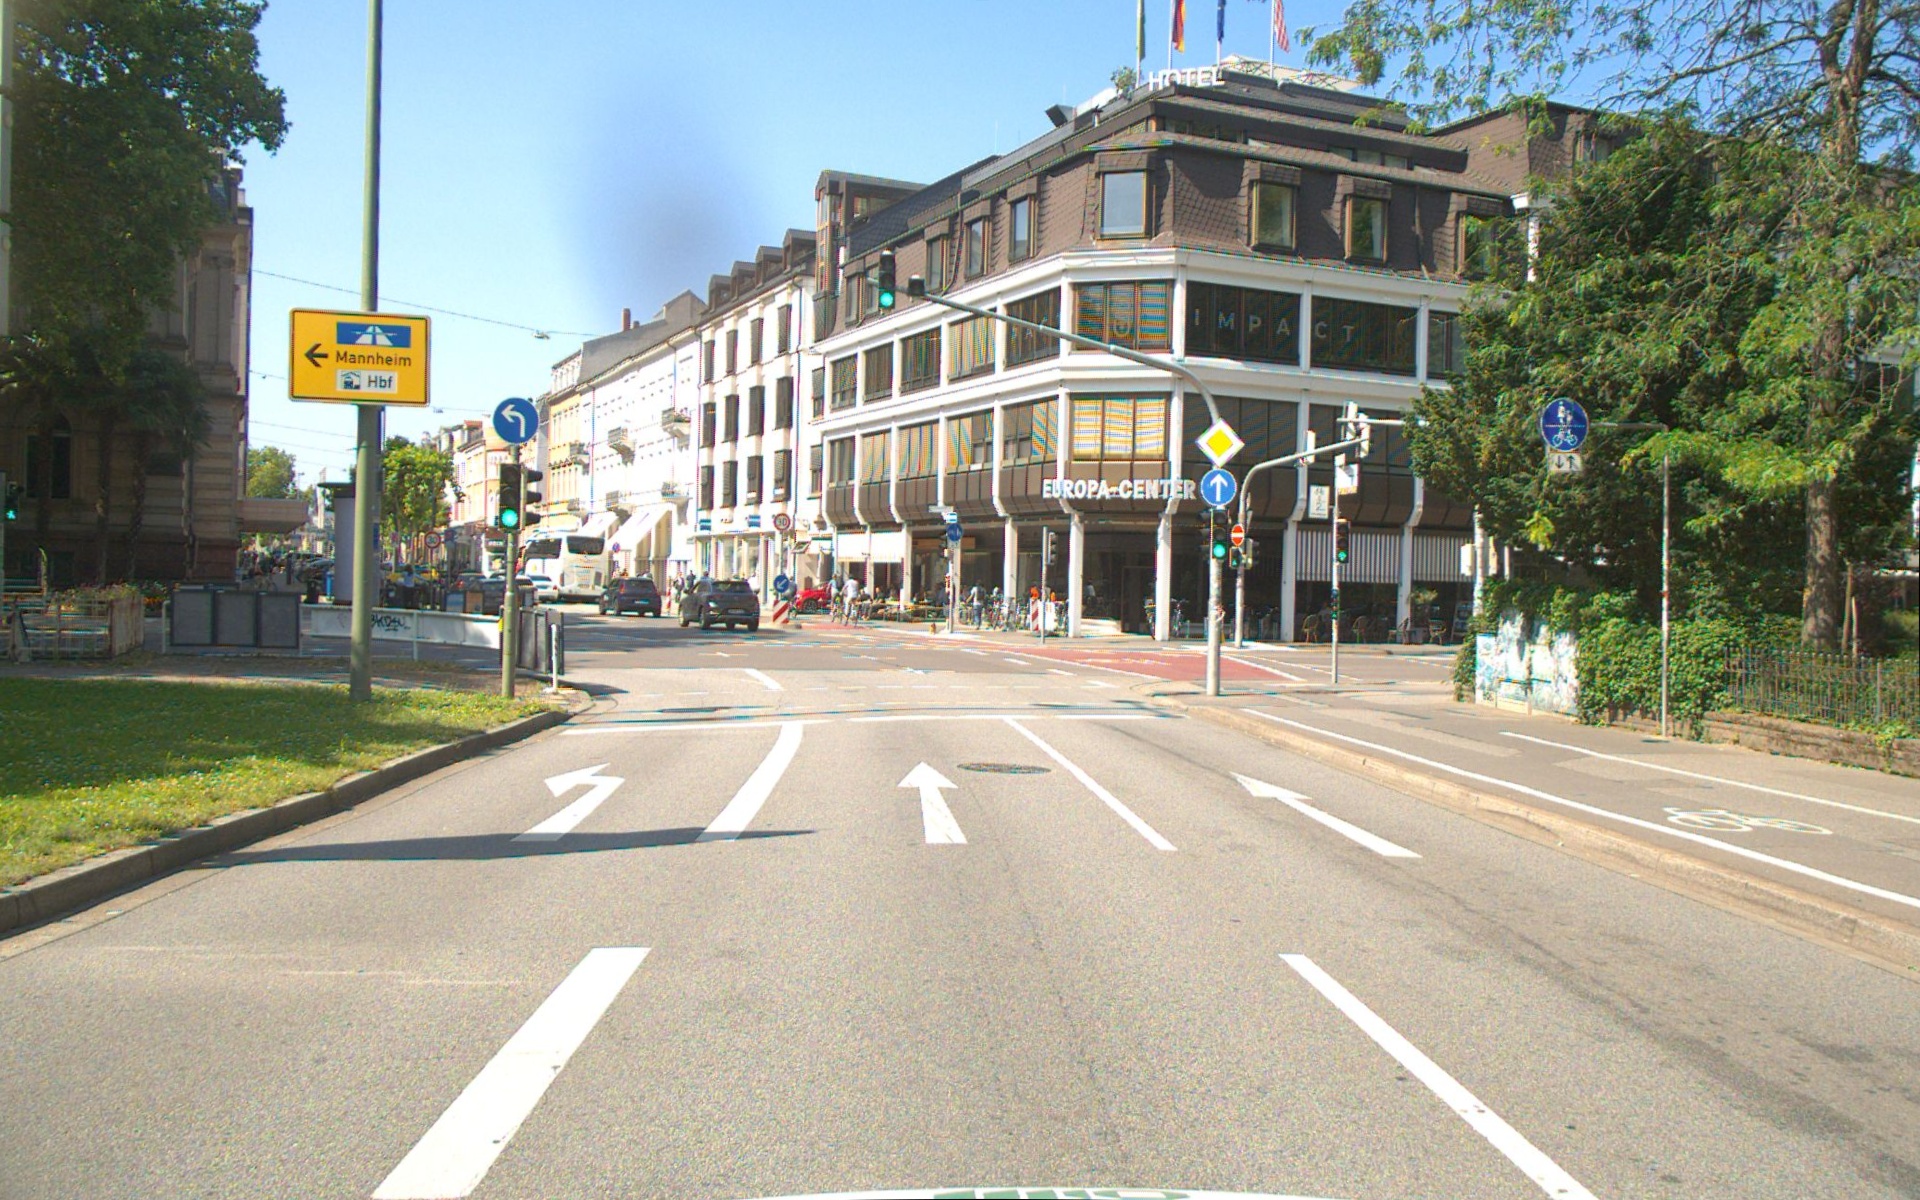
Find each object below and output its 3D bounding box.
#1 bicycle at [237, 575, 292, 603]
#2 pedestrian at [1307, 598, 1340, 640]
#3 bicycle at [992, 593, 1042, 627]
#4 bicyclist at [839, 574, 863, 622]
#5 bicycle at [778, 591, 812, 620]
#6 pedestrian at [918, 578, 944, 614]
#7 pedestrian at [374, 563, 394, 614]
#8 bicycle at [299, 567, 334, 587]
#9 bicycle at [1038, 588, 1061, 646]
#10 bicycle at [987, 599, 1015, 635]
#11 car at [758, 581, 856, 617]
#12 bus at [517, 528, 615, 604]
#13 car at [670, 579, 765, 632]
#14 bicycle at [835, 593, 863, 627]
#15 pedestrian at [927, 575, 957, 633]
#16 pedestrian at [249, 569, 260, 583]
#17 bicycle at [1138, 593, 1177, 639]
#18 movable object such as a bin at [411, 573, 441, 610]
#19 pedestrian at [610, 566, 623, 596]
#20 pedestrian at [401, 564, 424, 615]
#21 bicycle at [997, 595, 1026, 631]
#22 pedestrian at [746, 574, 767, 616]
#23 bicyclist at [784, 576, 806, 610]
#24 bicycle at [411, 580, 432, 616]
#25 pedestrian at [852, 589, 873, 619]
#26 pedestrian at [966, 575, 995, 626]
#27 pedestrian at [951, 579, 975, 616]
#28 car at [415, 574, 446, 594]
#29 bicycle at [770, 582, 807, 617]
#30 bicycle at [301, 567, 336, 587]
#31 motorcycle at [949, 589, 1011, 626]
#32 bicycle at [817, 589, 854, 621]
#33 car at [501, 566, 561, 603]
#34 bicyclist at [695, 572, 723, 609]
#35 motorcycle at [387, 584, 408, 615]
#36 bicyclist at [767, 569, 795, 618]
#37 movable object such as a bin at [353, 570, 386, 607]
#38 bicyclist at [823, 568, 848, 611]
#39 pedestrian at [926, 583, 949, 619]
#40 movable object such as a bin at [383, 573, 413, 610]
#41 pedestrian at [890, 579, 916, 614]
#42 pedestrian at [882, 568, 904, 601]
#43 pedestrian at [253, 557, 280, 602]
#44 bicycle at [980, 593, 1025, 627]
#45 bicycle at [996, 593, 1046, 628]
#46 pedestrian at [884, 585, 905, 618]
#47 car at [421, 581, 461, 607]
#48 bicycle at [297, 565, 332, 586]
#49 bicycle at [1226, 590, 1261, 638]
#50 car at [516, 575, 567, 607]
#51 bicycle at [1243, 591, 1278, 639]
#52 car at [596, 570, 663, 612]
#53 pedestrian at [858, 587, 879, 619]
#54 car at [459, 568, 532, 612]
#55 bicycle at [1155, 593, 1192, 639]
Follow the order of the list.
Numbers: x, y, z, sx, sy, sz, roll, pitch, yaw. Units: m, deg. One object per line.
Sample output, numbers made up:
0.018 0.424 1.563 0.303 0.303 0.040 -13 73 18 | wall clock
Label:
-28.097 -0.460 66.823 1.979 1.080 0.490 1 0 -1 | bicycle
12.070 0.622 54.919 0.811 1.358 0.970 2 1 30 | pedestrian
1.942 0.336 56.371 1.690 1.140 0.276 0 1 -18 | bicycle
-3.788 -0.058 57.599 0.683 1.654 0.832 1 0 -15 | bicyclist
-6.594 0.218 65.966 0.612 1.118 2.334 2 0 -25 | bicycle
-1.167 -0.161 66.534 0.803 1.421 0.691 1 -1 -26 | pedestrian
-19.396 -0.392 55.684 0.540 1.694 0.933 1 -1 -15 | pedestrian
-42.167 -1.524 108.396 2.044 1.150 0.459 4 -1 -32 | bicycle
2.840 0.533 52.213 0.368 1.503 1.061 -1 -28 17 | bicycle
1.357 0.549 54.766 0.272 1.140 2.234 1 1 -16 | bicycle
-6.726 -0.031 72.737 3.989 1.521 1.829 0 -1 -23 | car
-22.055 -1.895 91.911 2.844 3.807 12.331 3 0 -25 | bus
-7.552 0.139 51.247 1.810 1.554 3.967 -1 1 -26 | car
-3.885 0.338 57.734 0.585 1.140 1.793 1 1 -16 | bicycle
-0.590 0.143 53.816 0.819 1.868 0.694 1 -1 -15 | pedestrian
-44.191 -1.512 103.537 0.558 0.823 0.769 6 -1 -24 | pedestrian
6.084 0.474 50.937 0.519 1.339 1.965 1 2 27 | bicycle
-22.746 -0.366 70.463 1.106 1.476 1.431 3 1 -18 | movable object such as a bin
-20.904 -1.124 100.625 0.565 1.809 1.013 1 -1 -21 | pedestrian
-18.372 -0.348 55.530 0.684 1.725 0.686 1 -1 -22 | pedestrian
1.699 0.421 54.952 0.272 1.140 2.234 1 1 -16 | bicycle
-8.560 -0.199 69.525 0.612 1.750 0.830 2 0 -23 | pedestrian
-6.592 -0.277 65.993 0.612 1.319 0.860 2 0 -25 | bicyclist
-18.186 -0.052 55.910 0.422 1.140 2.235 3 -1 -13 | bicycle
-3.898 0.155 65.832 0.699 1.193 0.694 1 -1 -15 | pedestrian
0.702 0.020 56.189 0.819 1.692 0.694 1 -1 -16 | pedestrian
0.107 -0.082 63.900 0.702 1.421 0.691 1 -1 -25 | pedestrian
-41.028 -1.242 128.035 1.839 1.466 3.970 1 1 -24 | car
-6.270 -0.024 60.239 0.655 1.140 2.227 3 1 -23 | bicycle
-41.805 -1.508 107.726 2.037 1.150 0.613 4 -1 -24 | bicycle
0.728 0.263 60.262 2.189 1.313 0.949 0 -1 4 | motorcycle
-4.573 0.190 60.667 0.612 1.118 2.336 2 0 -23 | bicycle
-18.333 -0.678 70.563 1.838 1.466 3.971 1 1 -24 | car
-11.488 -0.437 75.630 0.970 1.627 1.047 2 0 -24 | bicyclist
-18.995 -0.028 55.848 0.446 1.015 2.152 3 0 -14 | motorcycle
-6.537 -0.249 60.391 0.685 1.702 0.909 3 1 -23 | bicyclist
-24.918 -0.489 69.847 1.190 1.476 1.357 3 1 -18 | movable object such as a bin
-4.577 -0.385 60.725 0.612 1.556 0.863 2 0 -23 | bicyclist
-0.896 0.041 65.734 0.702 1.421 0.691 1 -1 -25 | pedestrian
-23.798 -0.377 70.102 1.106 1.476 1.431 3 1 -18 | movable object such as a bin
-2.414 -0.148 70.197 0.866 1.391 0.533 4 -1 -25 | pedestrian
-2.874 -0.652 71.072 0.735 1.391 0.580 1 0 -25 | pedestrian
-28.202 -0.819 67.254 0.769 1.804 1.000 1 0 -9 | pedestrian
1.454 0.337 56.724 1.546 1.140 0.276 0 1 -18 | bicycle
2.060 0.356 55.994 1.690 1.140 0.276 0 1 -18 | bicycle
-2.812 0.058 70.519 0.751 1.391 0.474 1 0 -25 | pedestrian
-31.086 -0.357 99.045 1.839 1.466 3.969 1 -1 -24 | car
-43.325 -1.657 111.021 2.052 1.240 0.749 4 -1 -40 | bicycle
8.951 0.435 52.198 0.519 1.447 1.965 1 2 27 | bicycle
-20.772 -0.428 81.925 1.809 1.554 3.970 -1 0 -24 | car
9.440 0.450 51.876 0.519 1.447 1.965 1 2 27 | bicycle
-12.797 -0.349 63.838 1.808 1.554 3.972 -1 0 -22 | car
-3.586 0.128 65.040 0.699 1.238 0.694 1 -1 -15 | pedestrian
-15.741 -0.346 55.917 1.910 1.378 4.221 0 1 -22 | car
6.566 0.475 50.750 0.519 1.339 1.857 1 2 27 | bicycle
